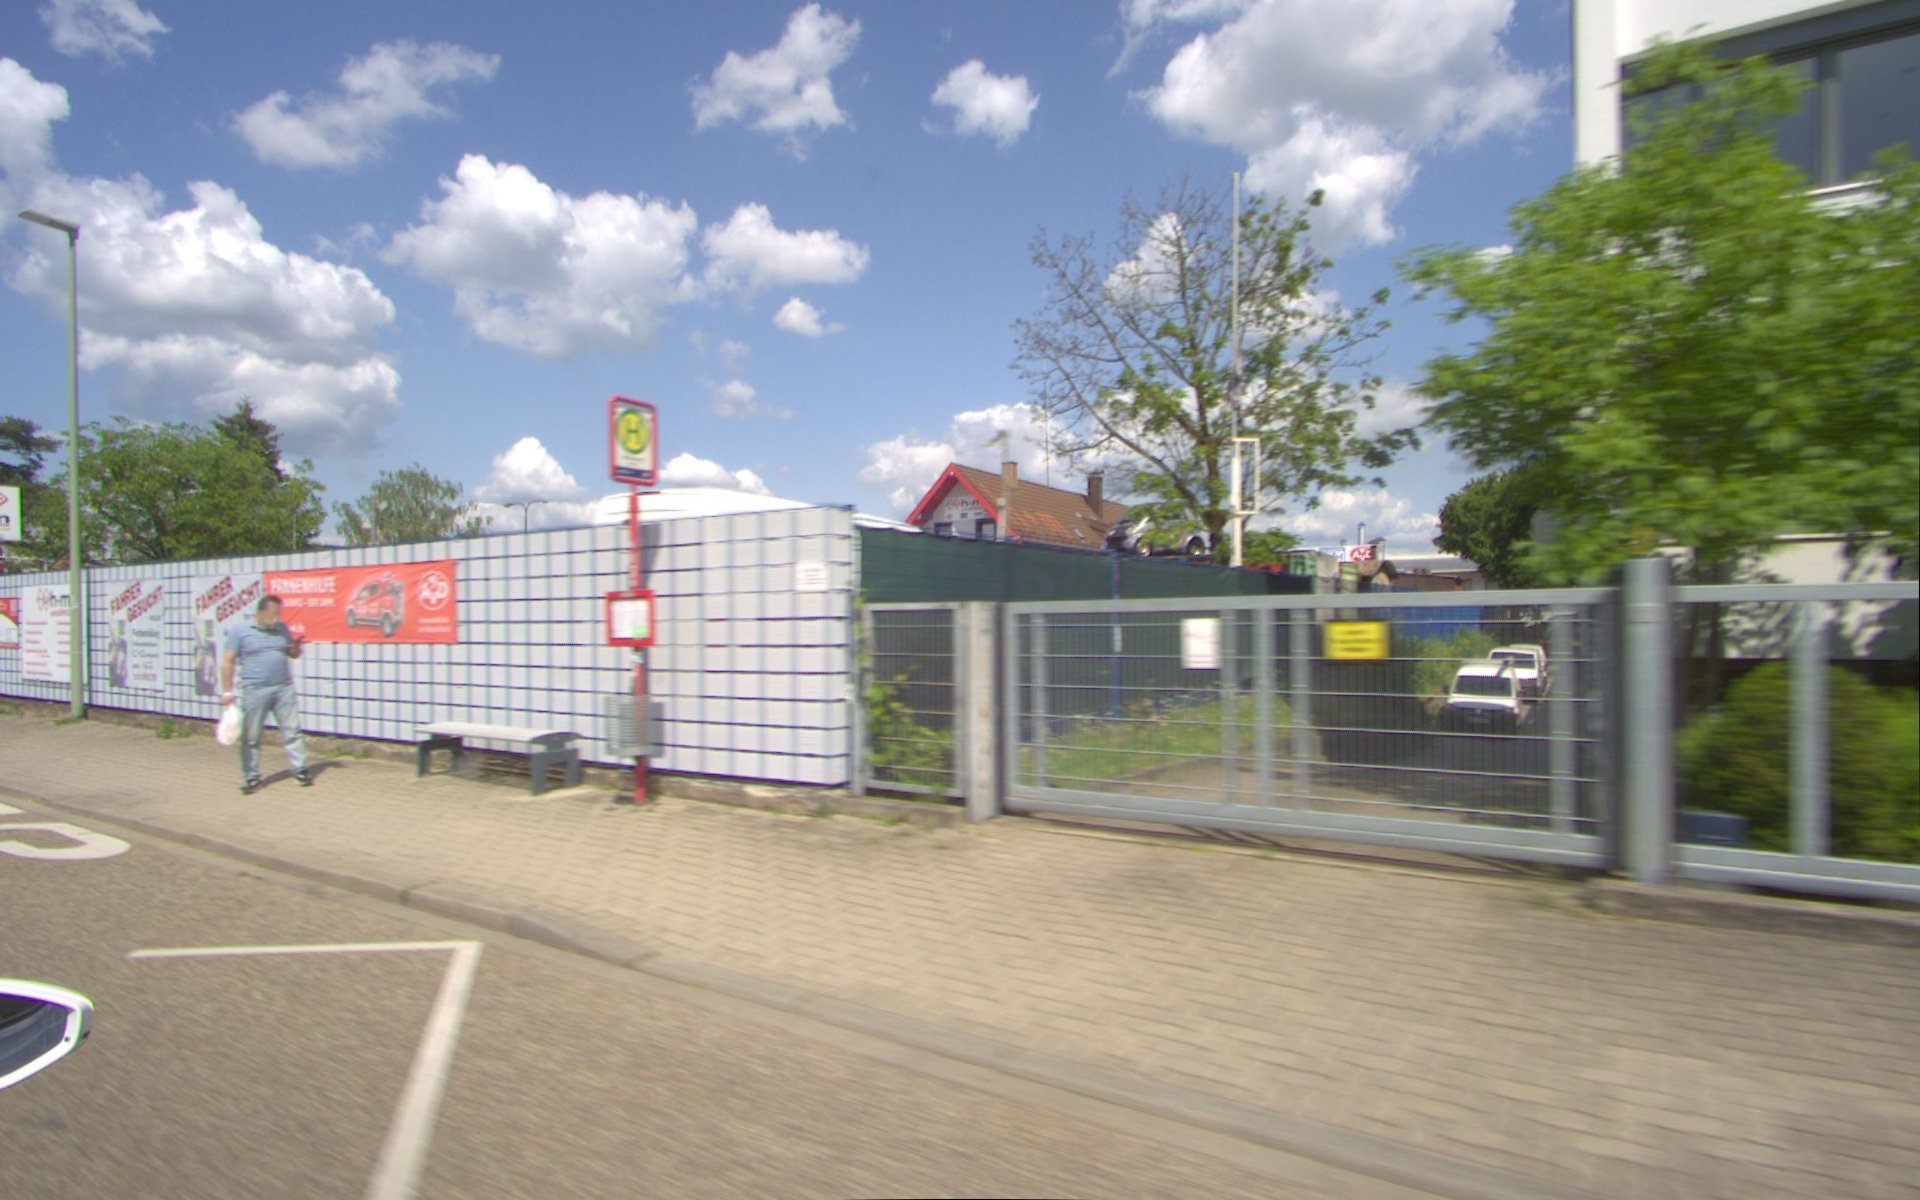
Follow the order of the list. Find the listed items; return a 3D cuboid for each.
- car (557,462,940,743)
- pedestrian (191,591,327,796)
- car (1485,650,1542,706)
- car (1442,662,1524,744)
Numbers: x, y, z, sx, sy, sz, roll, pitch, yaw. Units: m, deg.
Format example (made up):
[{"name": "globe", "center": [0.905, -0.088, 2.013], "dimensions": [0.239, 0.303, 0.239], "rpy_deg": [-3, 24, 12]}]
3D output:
[{"name": "car", "center": [-2.240, 0.080, 12.234], "dimensions": [2.040, 2.686, 4.907], "rpy_deg": [-1, -1, 25]}, {"name": "pedestrian", "center": [-6.312, 0.813, 9.038], "dimensions": [0.514, 1.721, 0.714], "rpy_deg": [-1, 5, 28]}, {"name": "car", "center": [20.982, 2.881, 37.892], "dimensions": [1.792, 1.950, 4.147], "rpy_deg": [-1, -2, 30]}, {"name": "car", "center": [14.335, 2.715, 27.343], "dimensions": [1.792, 1.950, 4.147], "rpy_deg": [-1, -2, 30]}]
